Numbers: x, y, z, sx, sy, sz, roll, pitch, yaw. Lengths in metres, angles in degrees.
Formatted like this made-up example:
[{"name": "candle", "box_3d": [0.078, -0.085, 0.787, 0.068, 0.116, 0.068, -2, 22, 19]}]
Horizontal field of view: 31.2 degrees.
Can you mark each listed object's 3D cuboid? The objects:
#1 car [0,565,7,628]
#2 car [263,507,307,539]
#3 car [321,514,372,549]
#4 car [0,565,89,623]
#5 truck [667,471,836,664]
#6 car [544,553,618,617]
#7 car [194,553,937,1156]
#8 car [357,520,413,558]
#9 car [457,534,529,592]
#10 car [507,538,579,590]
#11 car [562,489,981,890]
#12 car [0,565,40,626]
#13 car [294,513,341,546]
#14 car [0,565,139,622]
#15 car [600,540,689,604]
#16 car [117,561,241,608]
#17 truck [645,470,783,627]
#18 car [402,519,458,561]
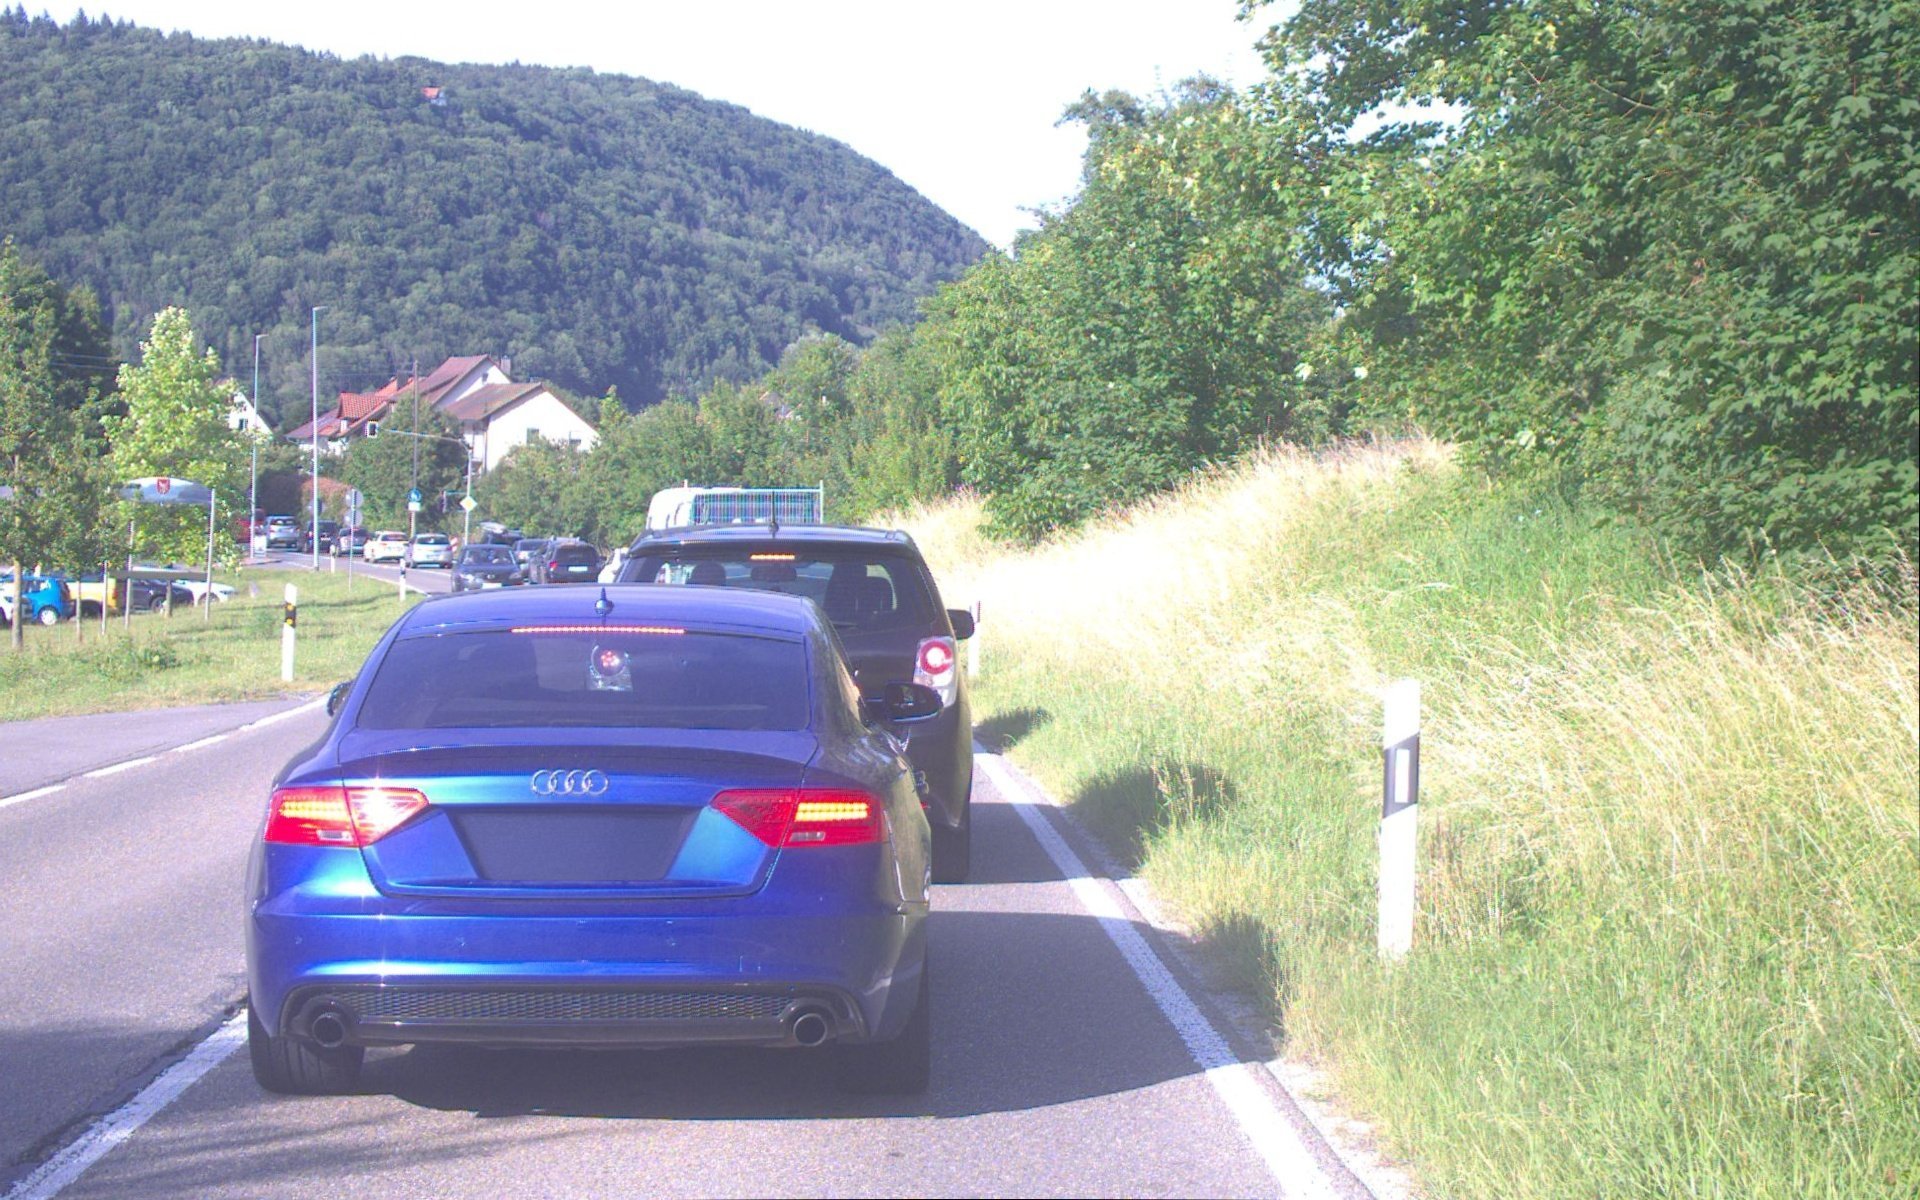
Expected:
[{"name": "car", "box_3d": [-28.301, -0.117, 93.998, 3.986, 1.705, 2.000, 1, 0, -3]}, {"name": "car", "box_3d": [-37.403, -4.270, 190.352, 1.845, 1.706, 4.001, 1, 0, -19]}, {"name": "car", "box_3d": [-30.160, -3.352, 168.952, 1.845, 1.706, 4.001, 1, 0, -19]}, {"name": "car", "box_3d": [-28.335, -0.198, 103.070, 3.986, 1.705, 2.000, 1, 0, -3]}, {"name": "truck", "box_3d": [-3.001, -0.463, 49.194, 2.229, 2.561, 6.104, 1, 0, -4]}, {"name": "car", "box_3d": [-10.505, -0.436, 95.216, 1.845, 1.706, 4.001, 1, 0, -9]}, {"name": "car", "box_3d": [-0.961, 0.595, 10.175, 1.754, 1.425, 3.846, 1, 0, 0]}, {"name": "car", "box_3d": [-26.056, -2.752, 155.589, 1.845, 1.706, 4.001, 1, 0, -19]}, {"name": "car", "box_3d": [-12.044, -0.953, 88.551, 1.703, 1.425, 4.051, 1, 0, -9]}, {"name": "car", "box_3d": [-14.191, -1.233, 116.850, 1.845, 1.706, 4.001, 1, 0, -15]}, {"name": "car", "box_3d": [-0.808, 0.361, 16.495, 1.754, 1.675, 3.846, 1, 0, 0]}, {"name": "car", "box_3d": [-28.270, -0.146, 97.283, 3.986, 1.705, 2.000, 1, 0, -3]}, {"name": "car", "box_3d": [-33.394, -3.653, 178.612, 1.845, 1.706, 4.001, 1, 0, -19]}, {"name": "car", "box_3d": [-27.428, -0.208, 105.642, 3.986, 1.705, 2.000, 1, 0, -3]}, {"name": "car", "box_3d": [-7.503, -0.670, 81.586, 1.845, 1.477, 4.001, 1, 0, -9]}, {"name": "car", "box_3d": [-27.278, -0.535, 120.113, 3.986, 1.573, 1.753, 1, 0, -3]}, {"name": "truck", "box_3d": [-4.379, -0.882, 60.263, 2.229, 2.561, 6.709, 1, 0, -5]}, {"name": "car", "box_3d": [-22.187, -2.506, 143.811, 1.845, 1.706, 4.001, 1, 0, -15]}]
